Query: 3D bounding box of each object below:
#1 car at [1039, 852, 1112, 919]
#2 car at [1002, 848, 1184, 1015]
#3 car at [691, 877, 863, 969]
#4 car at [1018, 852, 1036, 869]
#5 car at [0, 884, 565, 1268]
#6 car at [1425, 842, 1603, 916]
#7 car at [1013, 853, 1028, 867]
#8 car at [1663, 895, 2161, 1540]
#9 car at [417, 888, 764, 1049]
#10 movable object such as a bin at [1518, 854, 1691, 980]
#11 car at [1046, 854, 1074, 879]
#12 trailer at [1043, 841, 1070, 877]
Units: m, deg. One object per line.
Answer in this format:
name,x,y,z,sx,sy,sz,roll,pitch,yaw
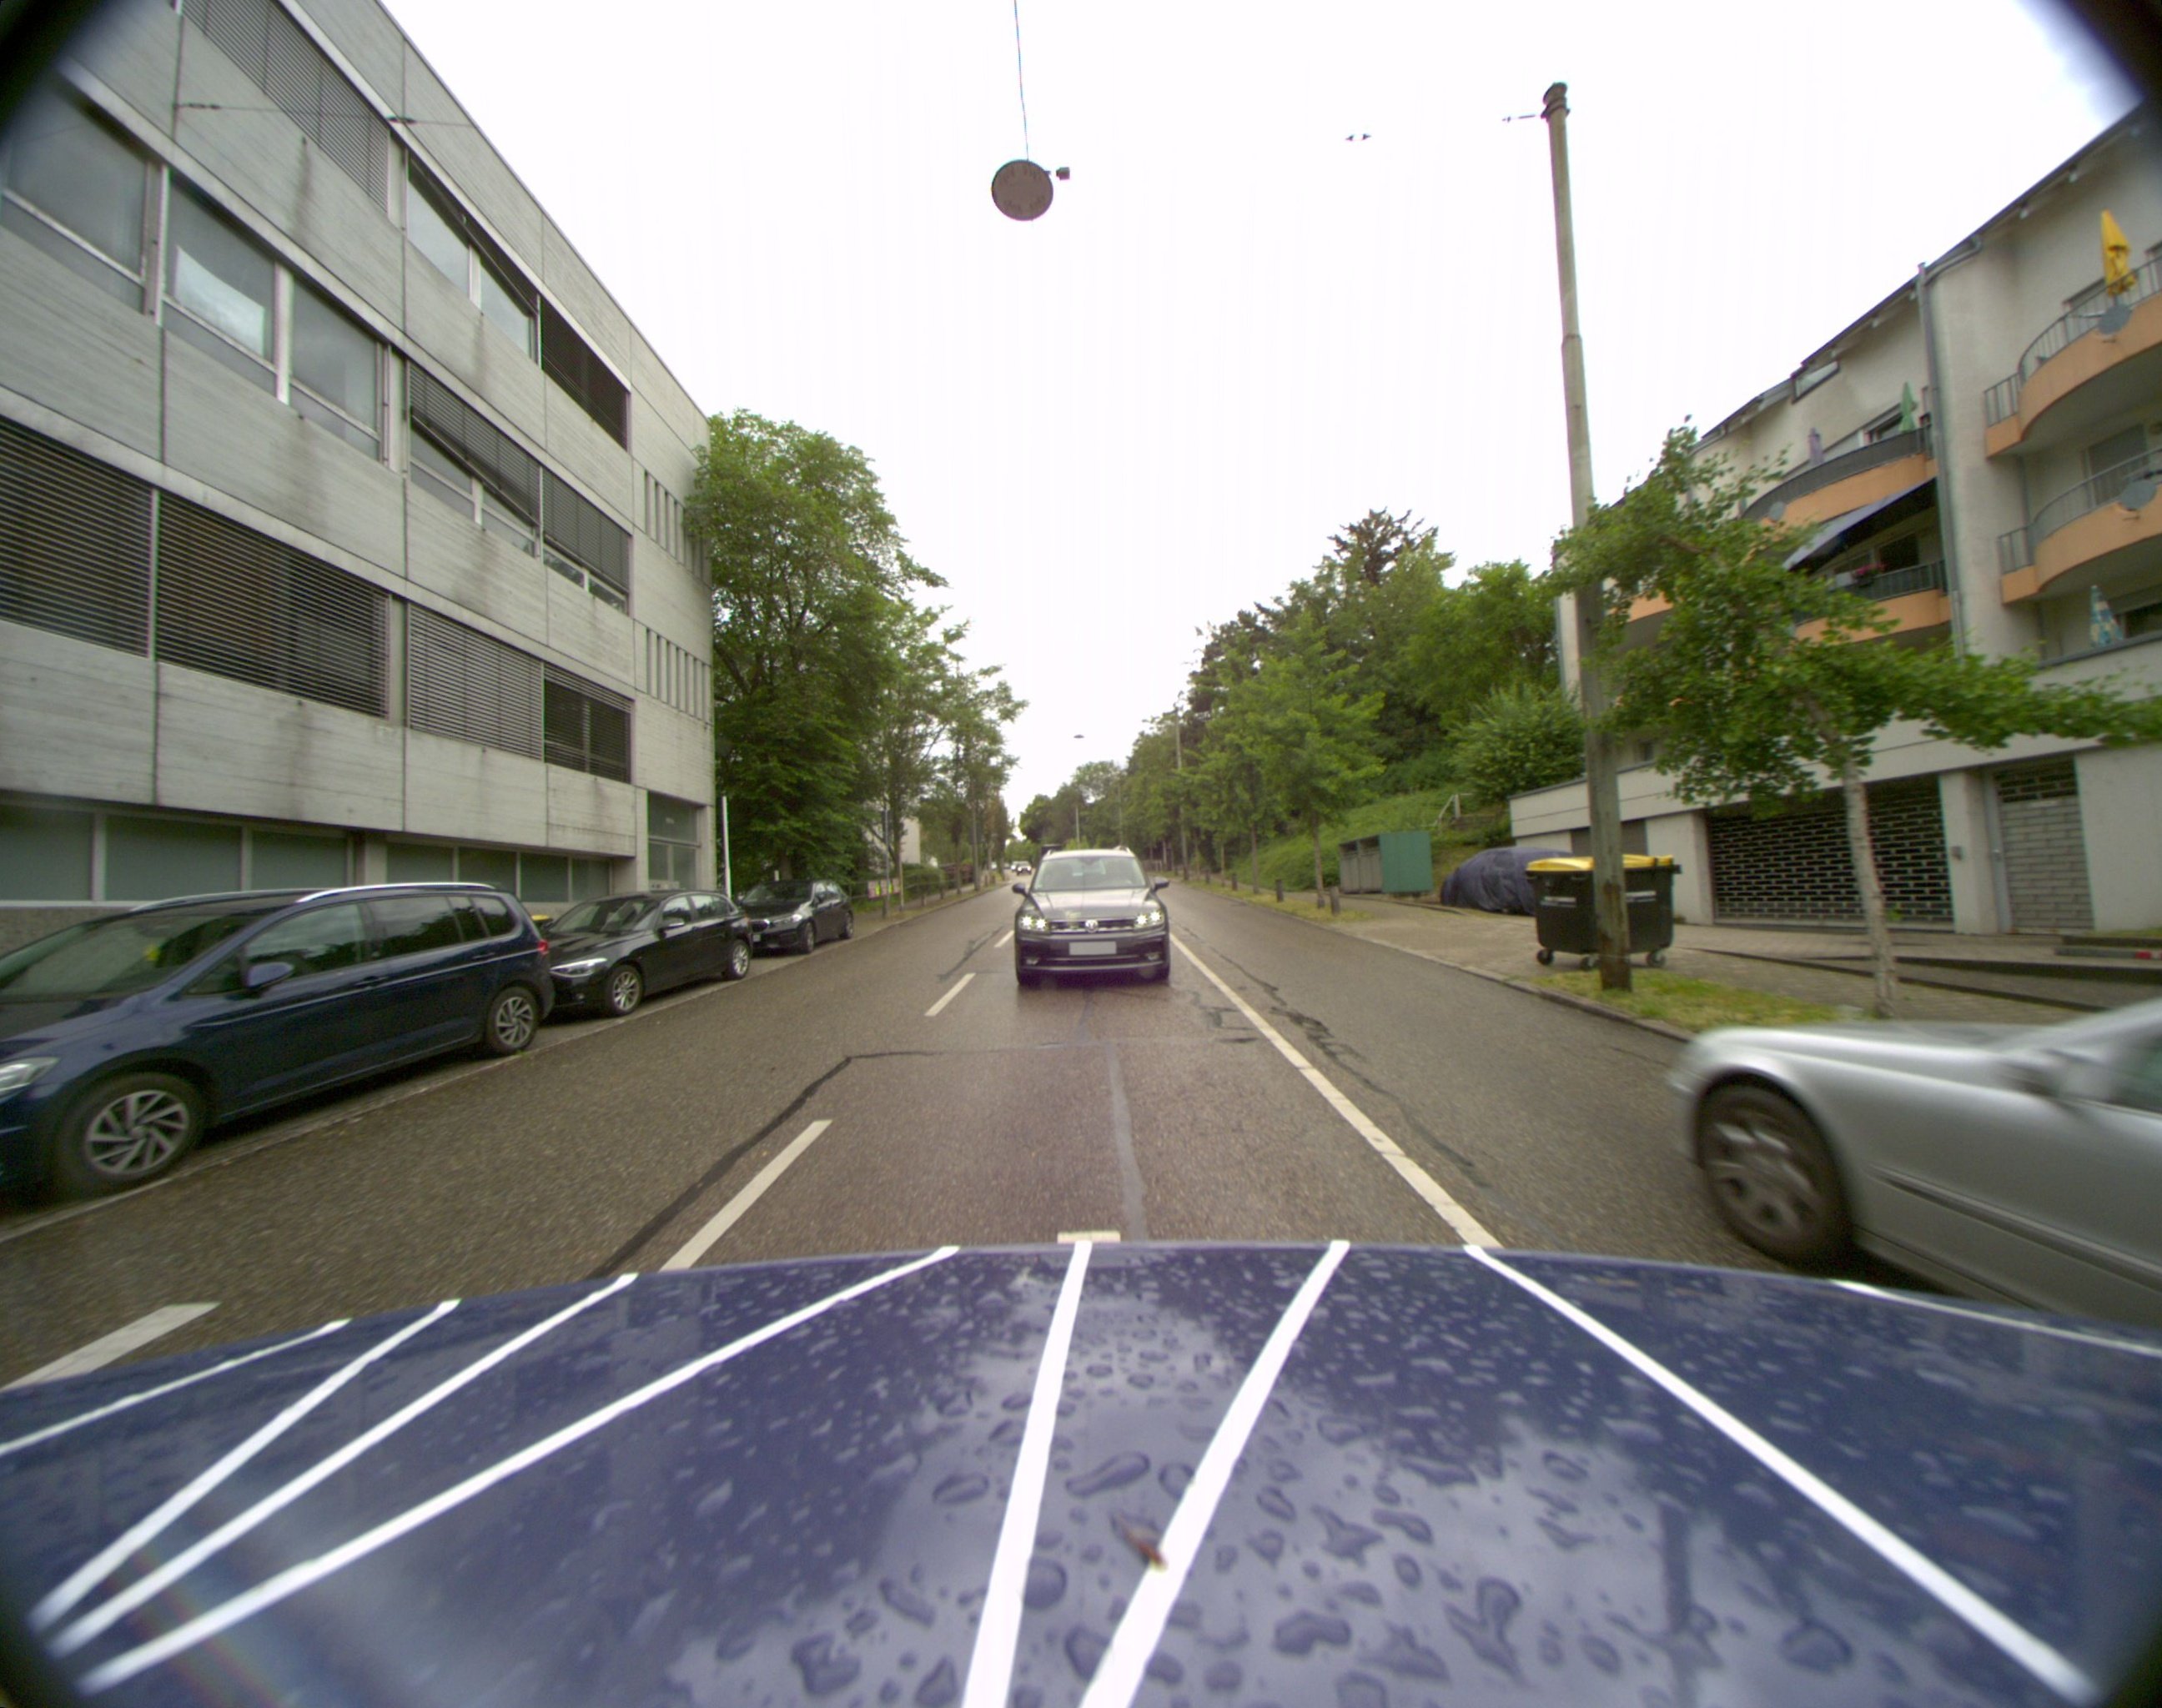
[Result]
car,-0.111,0.797,21.625,1.786,1.632,4.200,-3,0,1
car,0.152,0.786,9.899,1.786,1.632,4.200,-3,0,1
car,-6.099,1.315,15.816,1.843,1.436,4.155,-3,0,0
car,-6.859,0.752,96.876,1.999,2.002,3.998,-3,1,-2
car,-6.078,1.185,5.408,1.749,1.665,4.344,-3,0,0
car,9.833,0.520,17.655,1.856,1.483,3.865,2,0,-1
car,-9.645,0.945,121.401,1.999,2.002,3.999,-3,1,-1
car,3.303,0.875,1.054,1.723,1.376,4.285,1,0,1
car,-6.073,1.316,10.125,1.710,1.436,4.098,-3,0,4
movable object such as a bin,6.178,0.697,9.043,1.227,1.342,1.122,-3,1,-7
car,-1.573,0.892,55.638,1.737,1.610,3.473,-3,1,-5
trailer,-1.902,0.380,58.862,1.771,2.610,3.031,-3,1,-5
